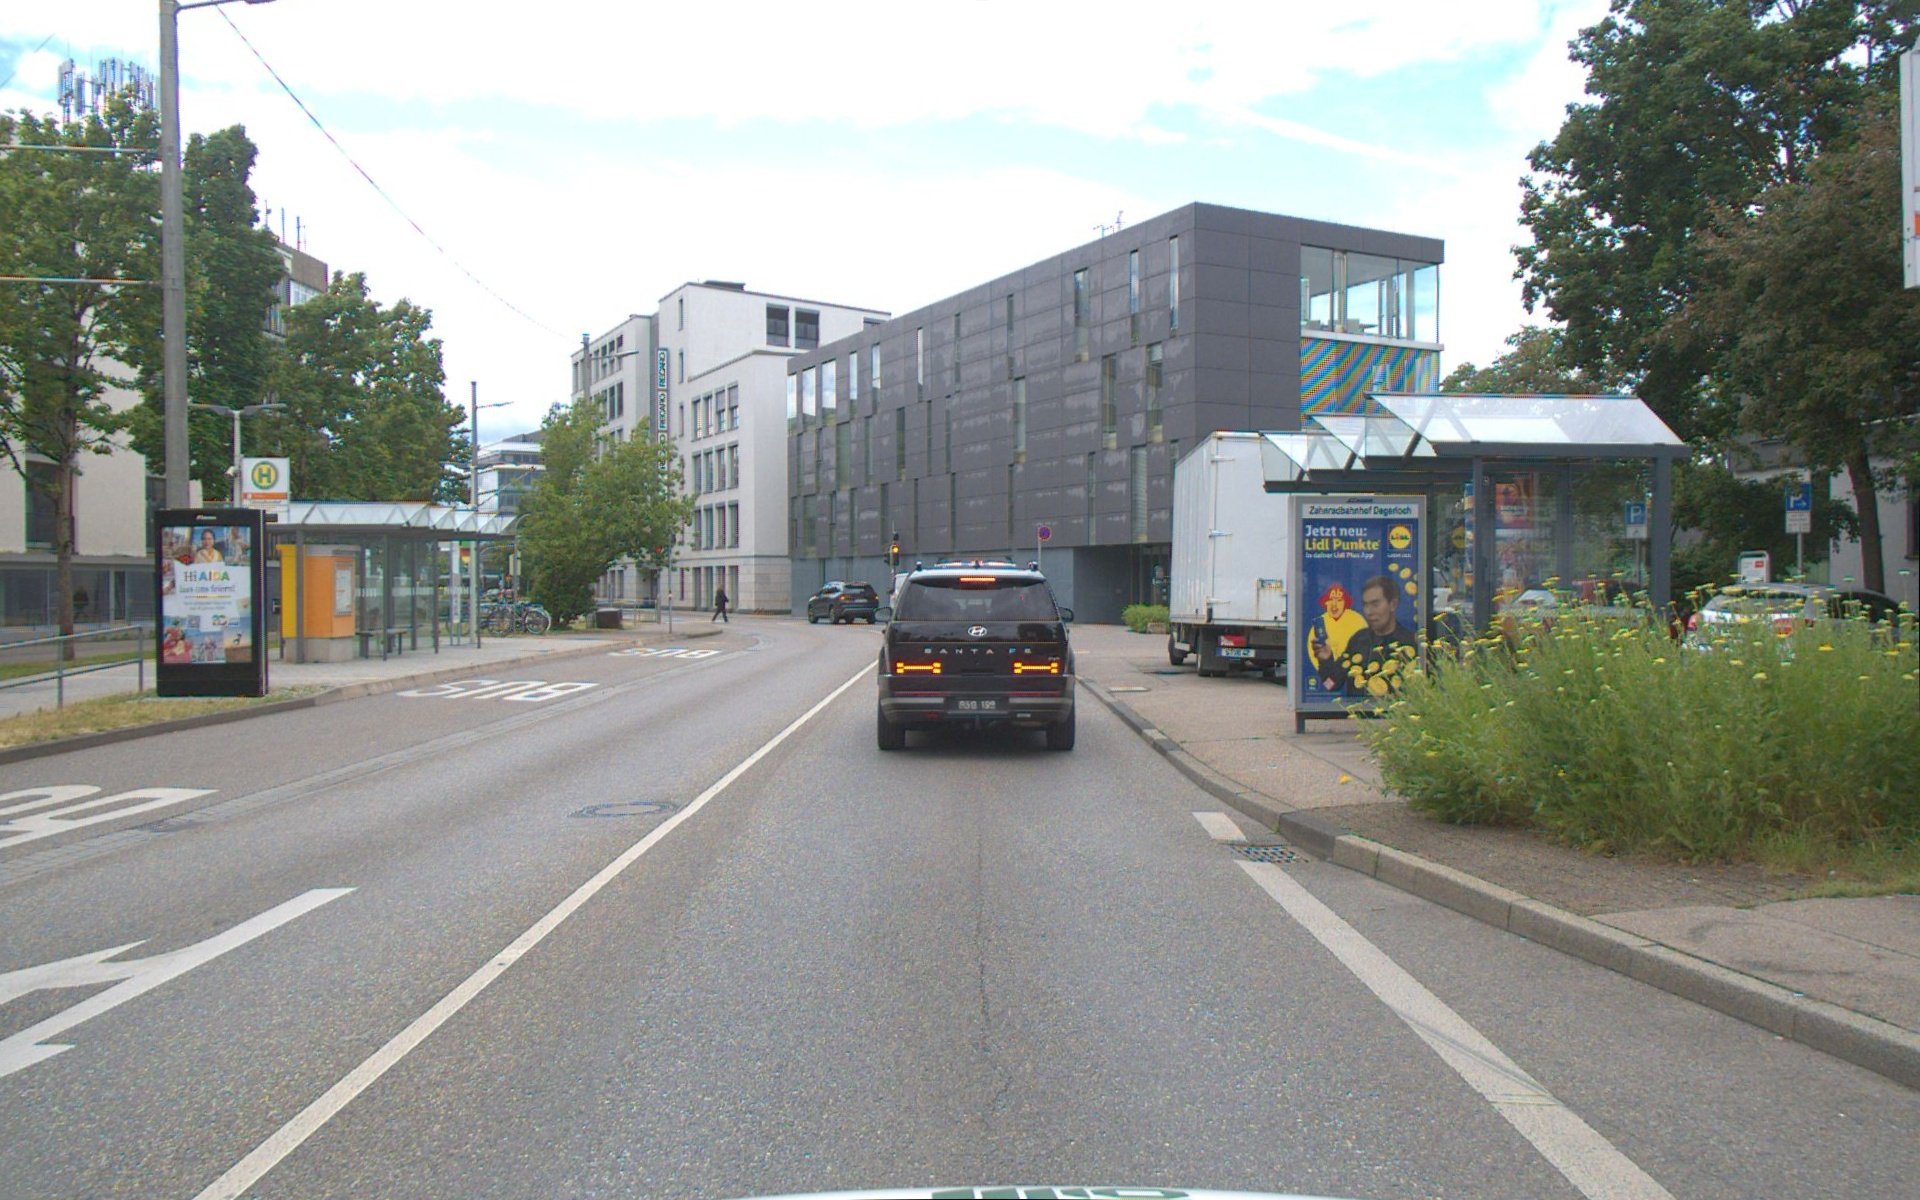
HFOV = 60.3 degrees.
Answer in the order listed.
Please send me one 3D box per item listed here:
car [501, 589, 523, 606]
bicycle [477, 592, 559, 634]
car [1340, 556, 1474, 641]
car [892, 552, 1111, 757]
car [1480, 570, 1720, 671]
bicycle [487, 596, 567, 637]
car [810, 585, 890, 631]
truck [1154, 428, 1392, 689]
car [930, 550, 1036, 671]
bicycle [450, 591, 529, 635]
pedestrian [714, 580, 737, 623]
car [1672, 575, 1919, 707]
[{"bbox_3d":[-43.127,-0.250,159.238,1.869,1.512,3.981,-1,0,-17],"label":"car"},{"bbox_3d":[-12.204,0.360,45.687,2.055,1.125,0.631,1,0,1],"label":"bicycle"},{"bbox_3d":[10.718,-0.021,40.021,1.953,1.870,4.517,-2,0,0],"label":"car"},{"bbox_3d":[0.282,0.460,16.528,1.877,1.755,4.168,1,0,-3],"label":"car"},{"bbox_3d":[9.963,0.331,25.741,3.453,1.480,1.665,1,0,-29],"label":"car"},{"bbox_3d":[-12.163,0.454,46.486,2.055,1.125,0.631,1,0,1],"label":"bicycle"},{"bbox_3d":[-4.466,0.324,66.342,1.823,1.706,4.342,-2,0,-24],"label":"car"},{"bbox_3d":[4.795,-0.611,26.807,2.520,3.587,7.812,-1,0,1],"label":"truck"},{"bbox_3d":[0.378,0.152,30.758,1.817,2.069,4.437,-1,1,-1],"label":"car"},{"bbox_3d":[-12.353,0.347,43.460,1.889,1.125,0.587,1,0,1],"label":"bicycle"},{"bbox_3d":[-10.063,0.051,70.899,0.921,1.832,0.589,-1,0,-12],"label":"pedestrian"},{"bbox_3d":[10.792,0.514,20.469,3.752,1.499,1.780,2,-1,-31],"label":"car"}]
